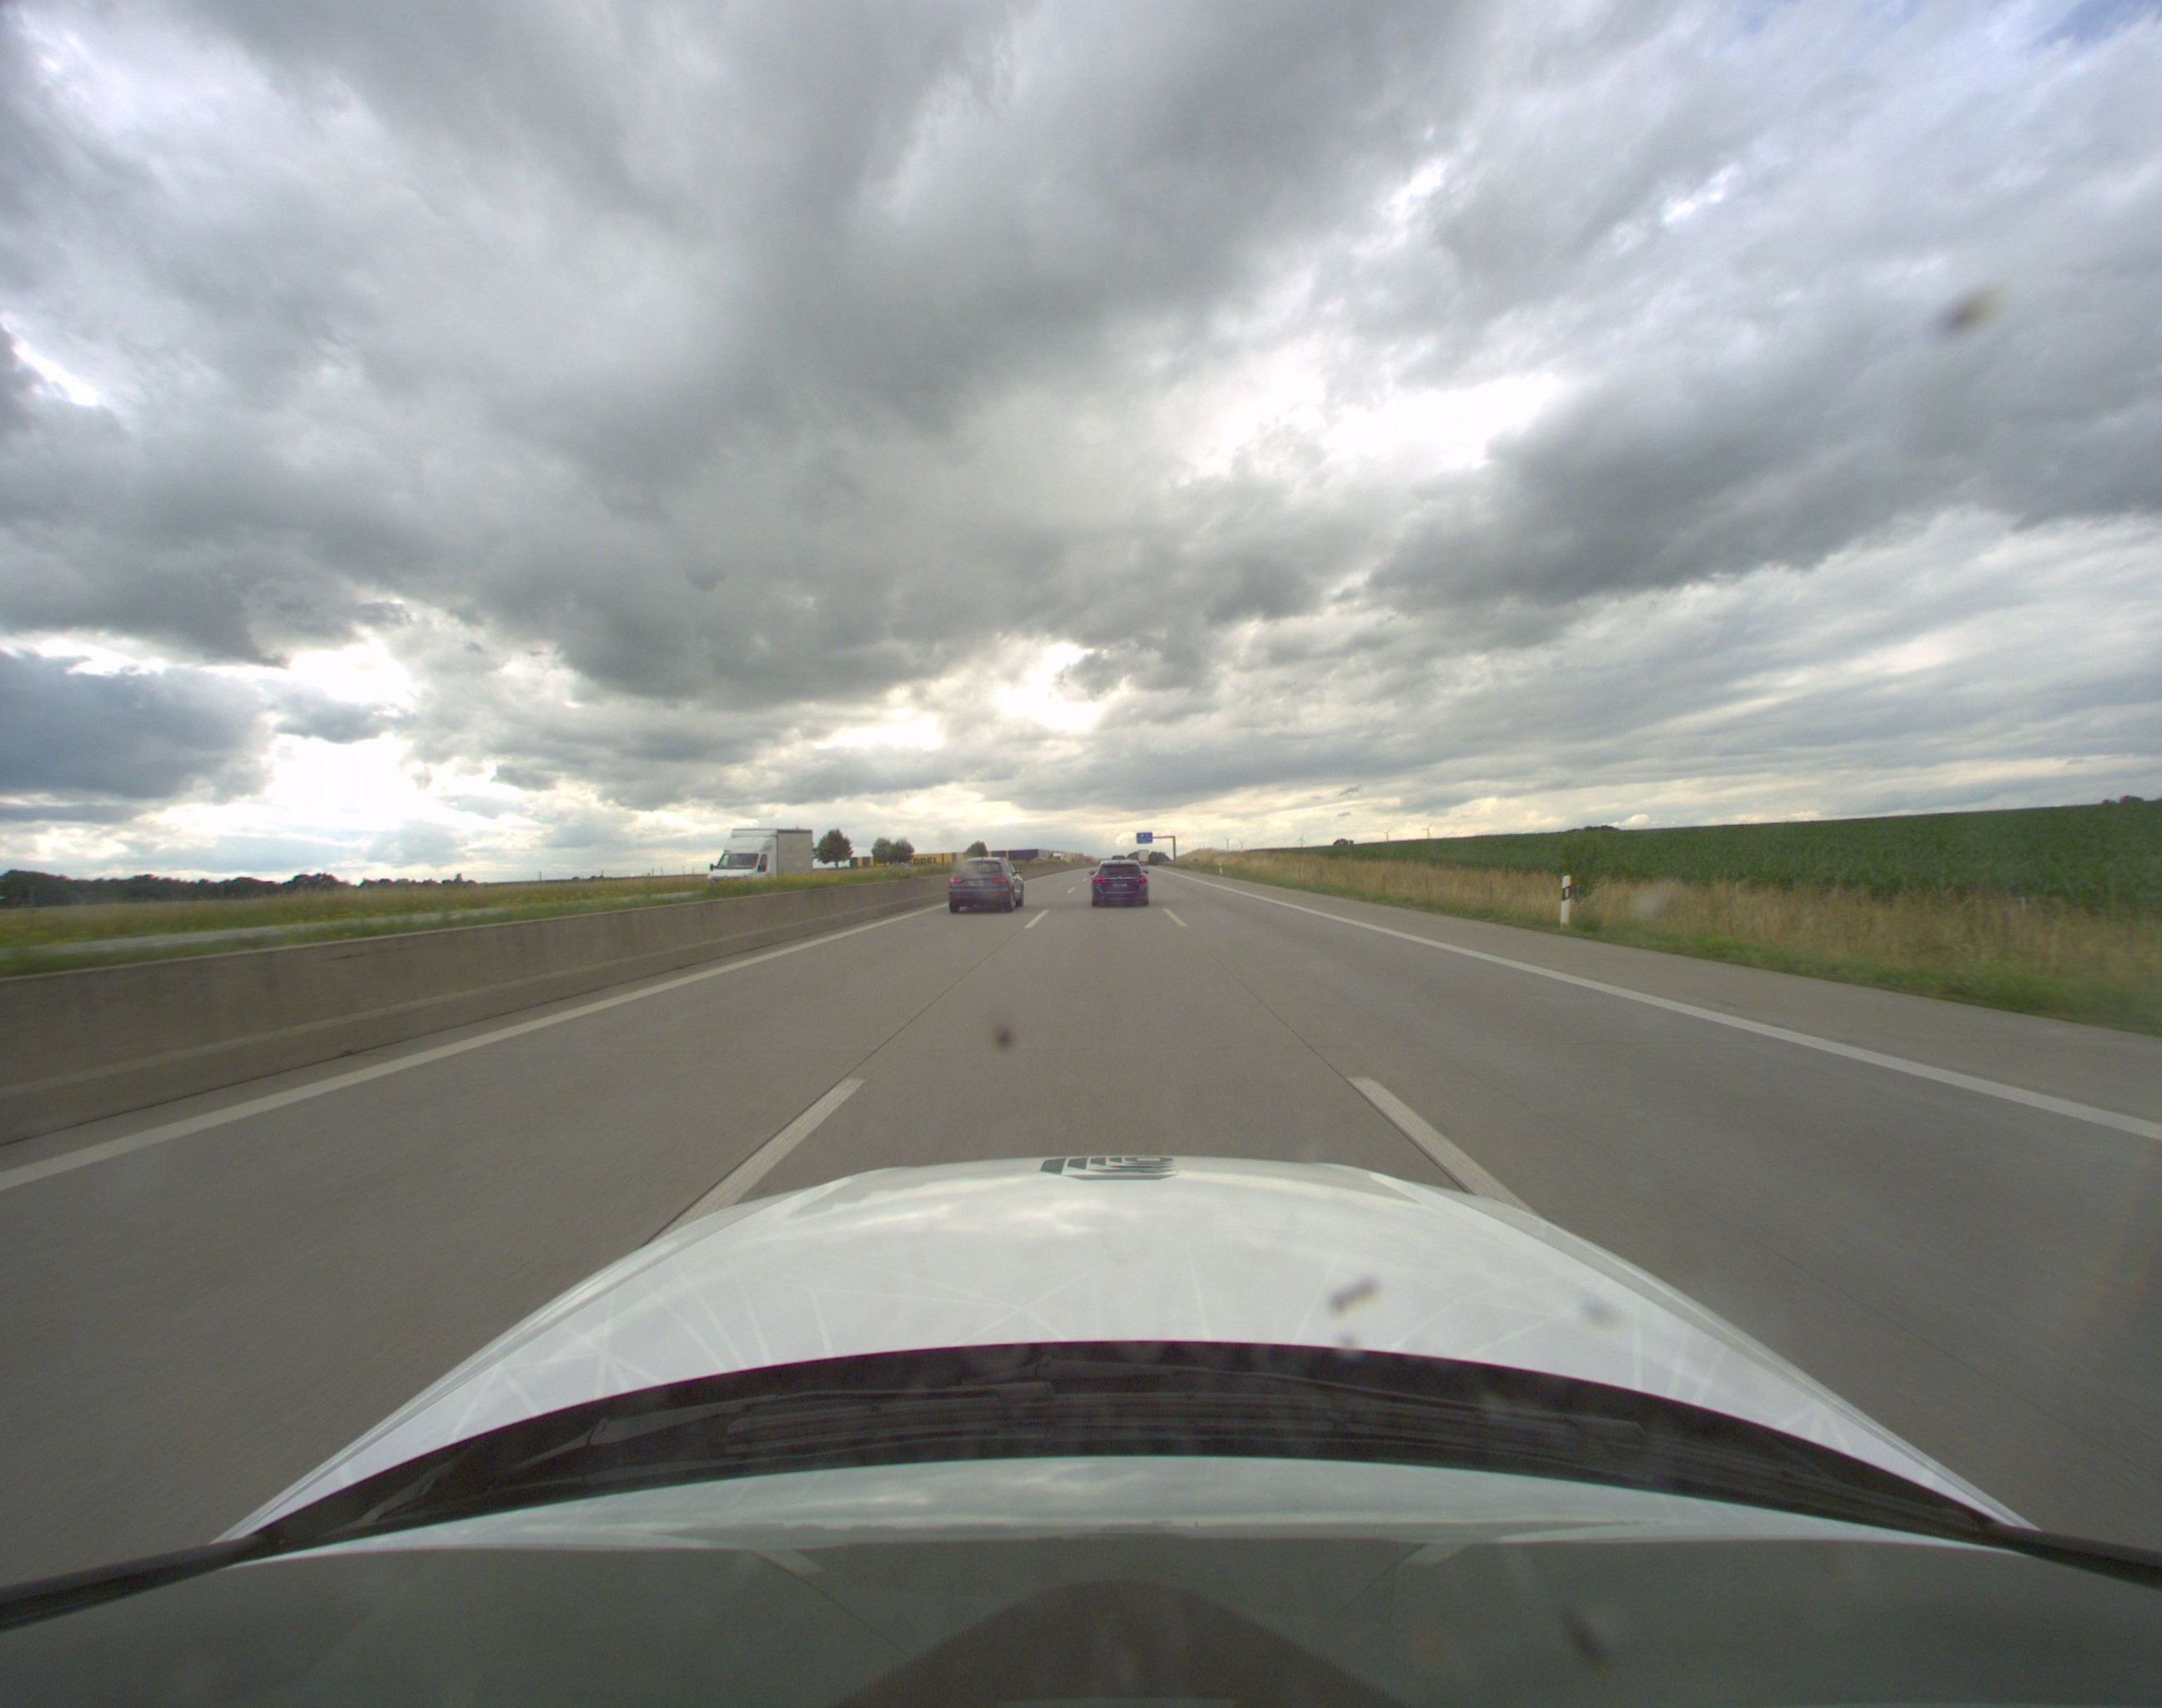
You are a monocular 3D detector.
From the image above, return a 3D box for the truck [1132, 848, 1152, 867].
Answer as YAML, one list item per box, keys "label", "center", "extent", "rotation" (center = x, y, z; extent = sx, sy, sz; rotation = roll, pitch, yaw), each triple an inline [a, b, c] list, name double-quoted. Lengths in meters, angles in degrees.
- label: "truck"
  center: [15.606, 0.931, 208.149]
  extent: [3.939, 4.756, 12.069]
  rotation: [0, -1, -1]

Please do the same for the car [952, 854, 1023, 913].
- label: "car"
  center: [-2.763, 0.825, 24.935]
  extent: [1.788, 1.596, 5.152]
  rotation: [0, 0, -3]

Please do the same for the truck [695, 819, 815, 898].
- label: "truck"
  center: [-15.057, 0.266, 38.245]
  extent: [2.348, 3.328, 7.302]
  rotation: [0, -1, 3]

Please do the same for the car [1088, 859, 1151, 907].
- label: "car"
  center: [1.170, 0.877, 26.361]
  extent: [1.769, 1.413, 3.998]
  rotation: [-1, -1, -1]

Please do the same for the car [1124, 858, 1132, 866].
- label: "car"
  center: [12.652, 2.166, 220.269]
  extent: [1.988, 2.014, 3.998]
  rotation: [0, -1, -1]

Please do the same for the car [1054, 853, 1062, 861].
- label: "car"
  center: [-6.458, 0.830, 227.793]
  extent: [1.985, 2.014, 4.002]
  rotation: [0, -1, 2]

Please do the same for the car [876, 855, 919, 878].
- label: "car"
  center: [-13.245, 0.903, 59.042]
  extent: [1.986, 1.612, 4.117]
  rotation: [0, -1, 2]

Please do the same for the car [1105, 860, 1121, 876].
- label: "car"
  center: [4.096, 1.783, 104.361]
  extent: [1.987, 2.014, 3.999]
  rotation: [0, -1, 0]
